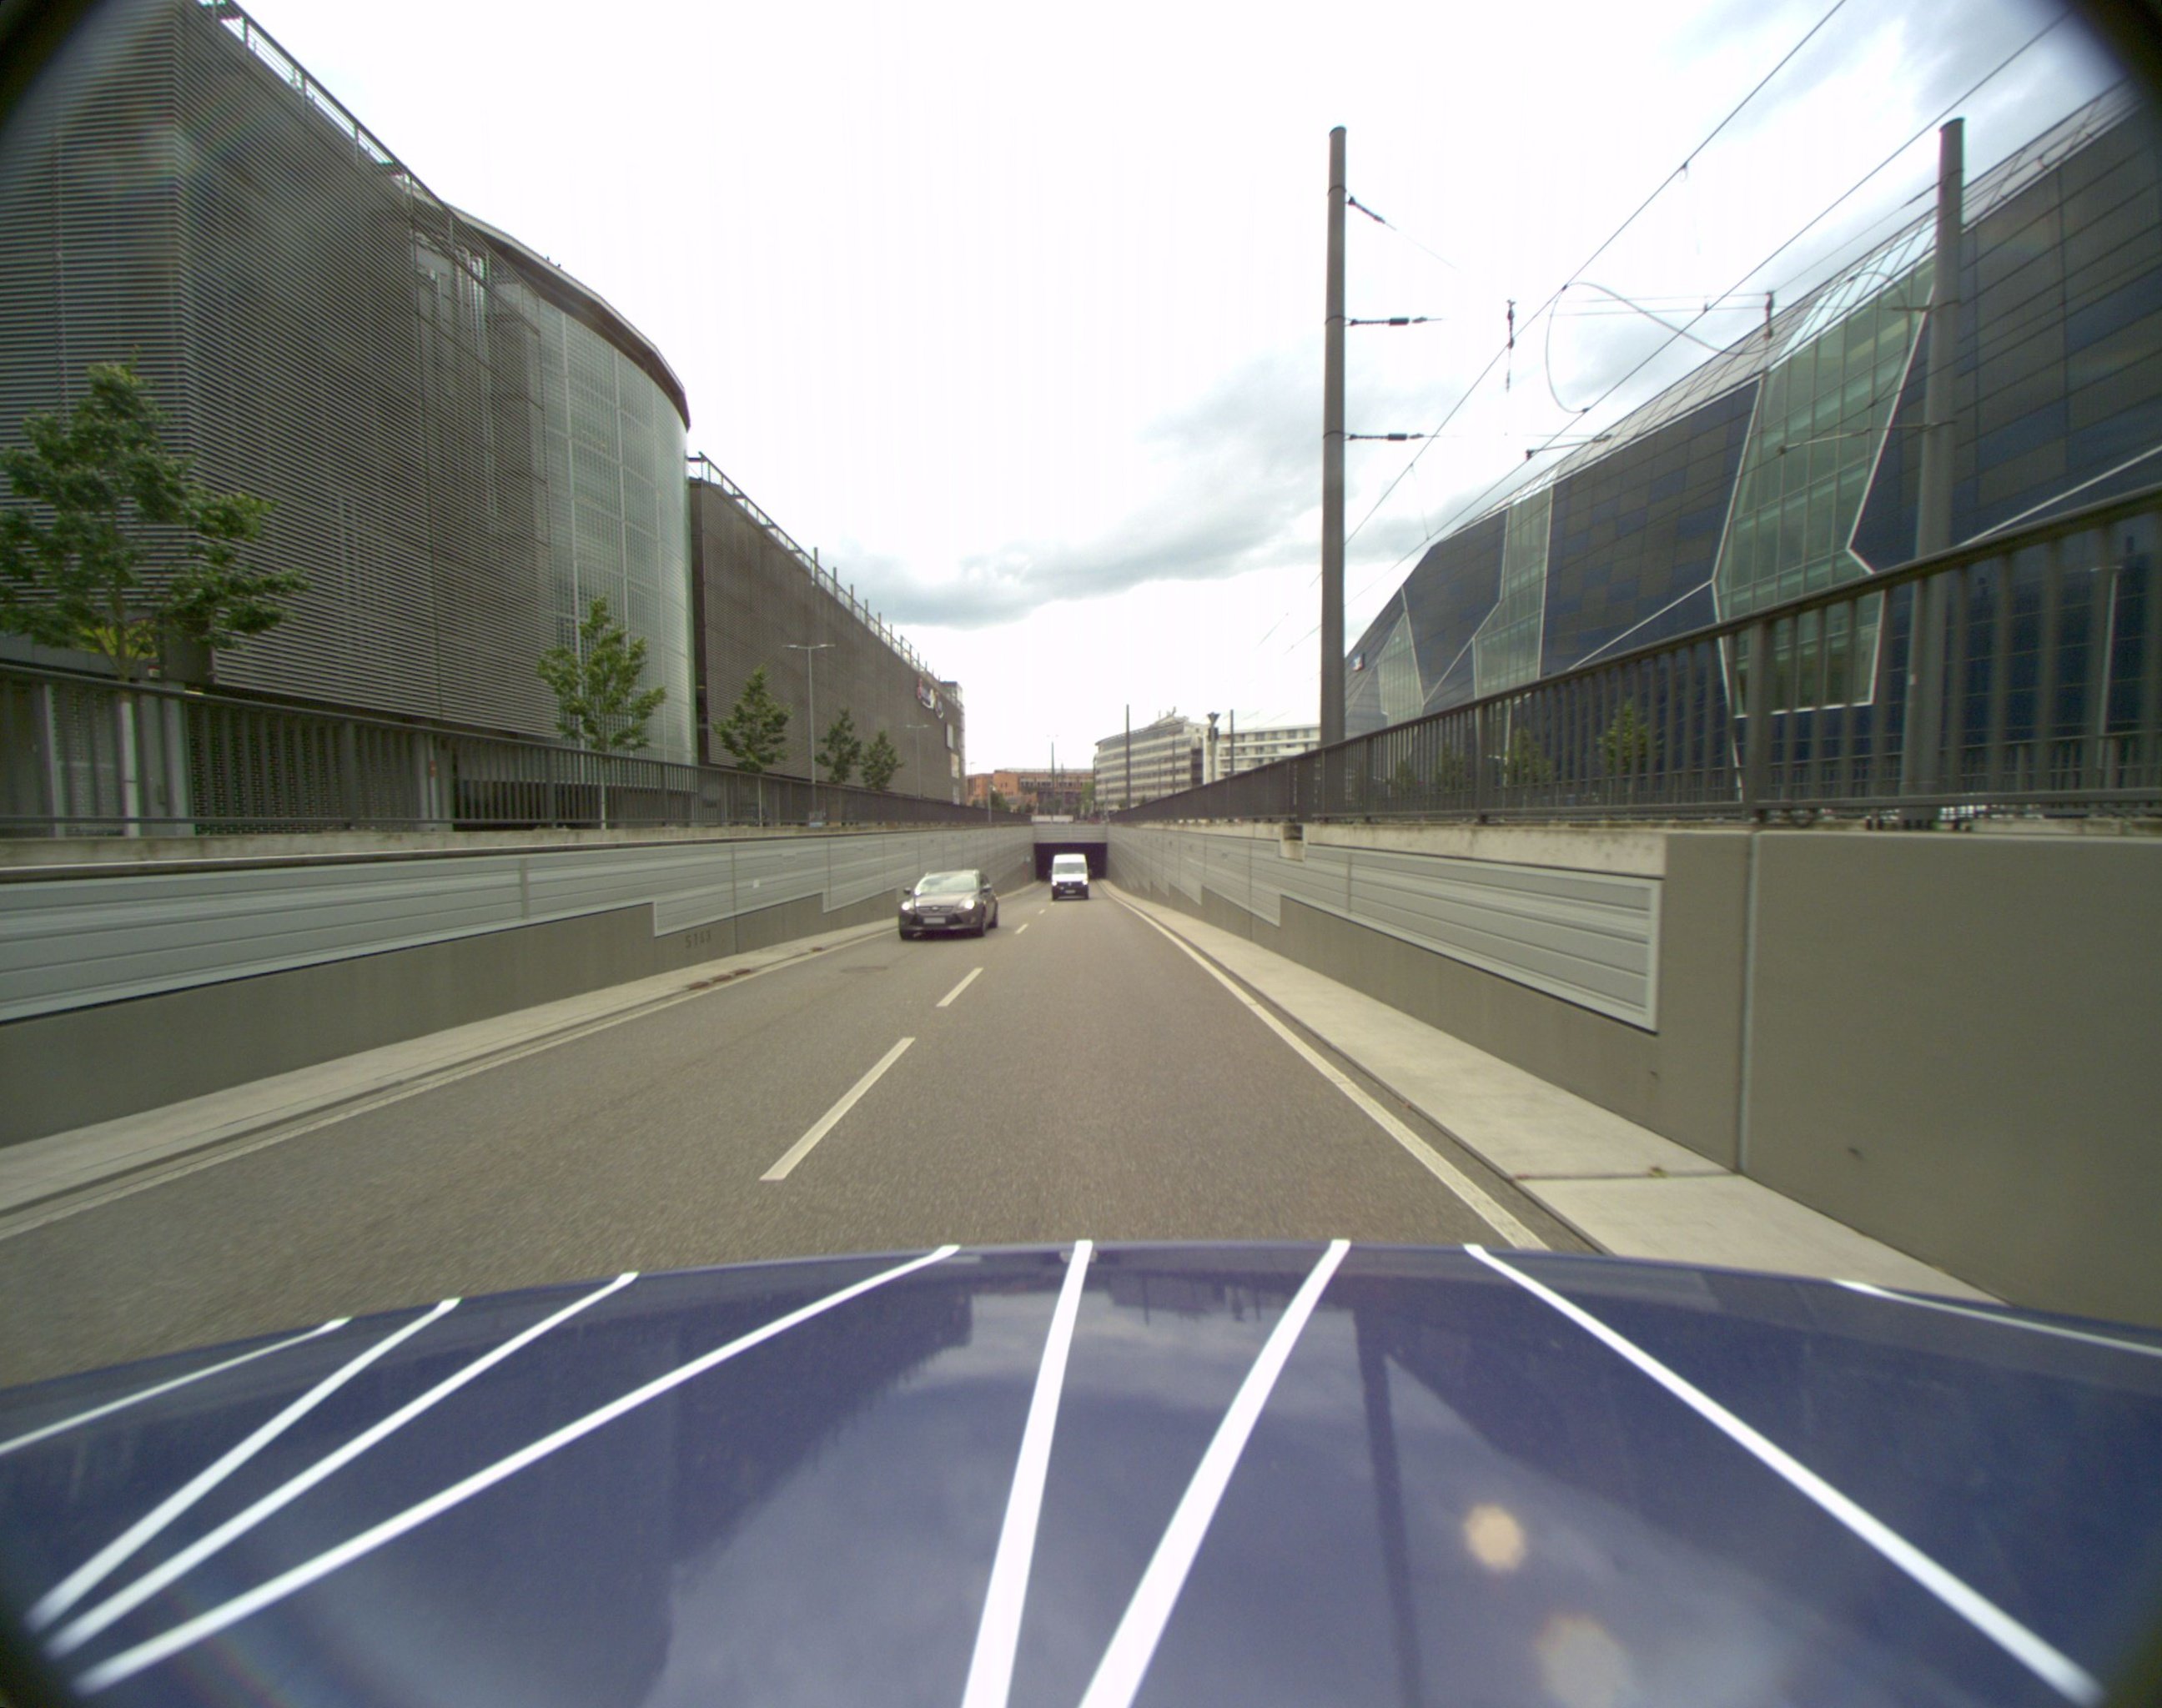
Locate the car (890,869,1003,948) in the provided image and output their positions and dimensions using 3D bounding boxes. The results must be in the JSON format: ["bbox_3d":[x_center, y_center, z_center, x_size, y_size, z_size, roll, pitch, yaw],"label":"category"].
[{"bbox_3d":[-2.951,1.150,17.527,1.752,1.490,4.269,-1,0,1],"label":"car"}]

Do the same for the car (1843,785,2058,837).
[{"bbox_3d":[30.055,-1.420,26.558,1.999,1.583,4.765,-1,1,-1],"label":"car"}]

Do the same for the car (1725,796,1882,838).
[{"bbox_3d":[30.011,-1.483,31.819,1.999,1.583,4.765,-1,1,-1],"label":"car"}]

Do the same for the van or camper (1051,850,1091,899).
[{"bbox_3d":[-0.534,1.202,42.958,2.043,2.571,5.043,-1,-2,0],"label":"van or camper"}]
